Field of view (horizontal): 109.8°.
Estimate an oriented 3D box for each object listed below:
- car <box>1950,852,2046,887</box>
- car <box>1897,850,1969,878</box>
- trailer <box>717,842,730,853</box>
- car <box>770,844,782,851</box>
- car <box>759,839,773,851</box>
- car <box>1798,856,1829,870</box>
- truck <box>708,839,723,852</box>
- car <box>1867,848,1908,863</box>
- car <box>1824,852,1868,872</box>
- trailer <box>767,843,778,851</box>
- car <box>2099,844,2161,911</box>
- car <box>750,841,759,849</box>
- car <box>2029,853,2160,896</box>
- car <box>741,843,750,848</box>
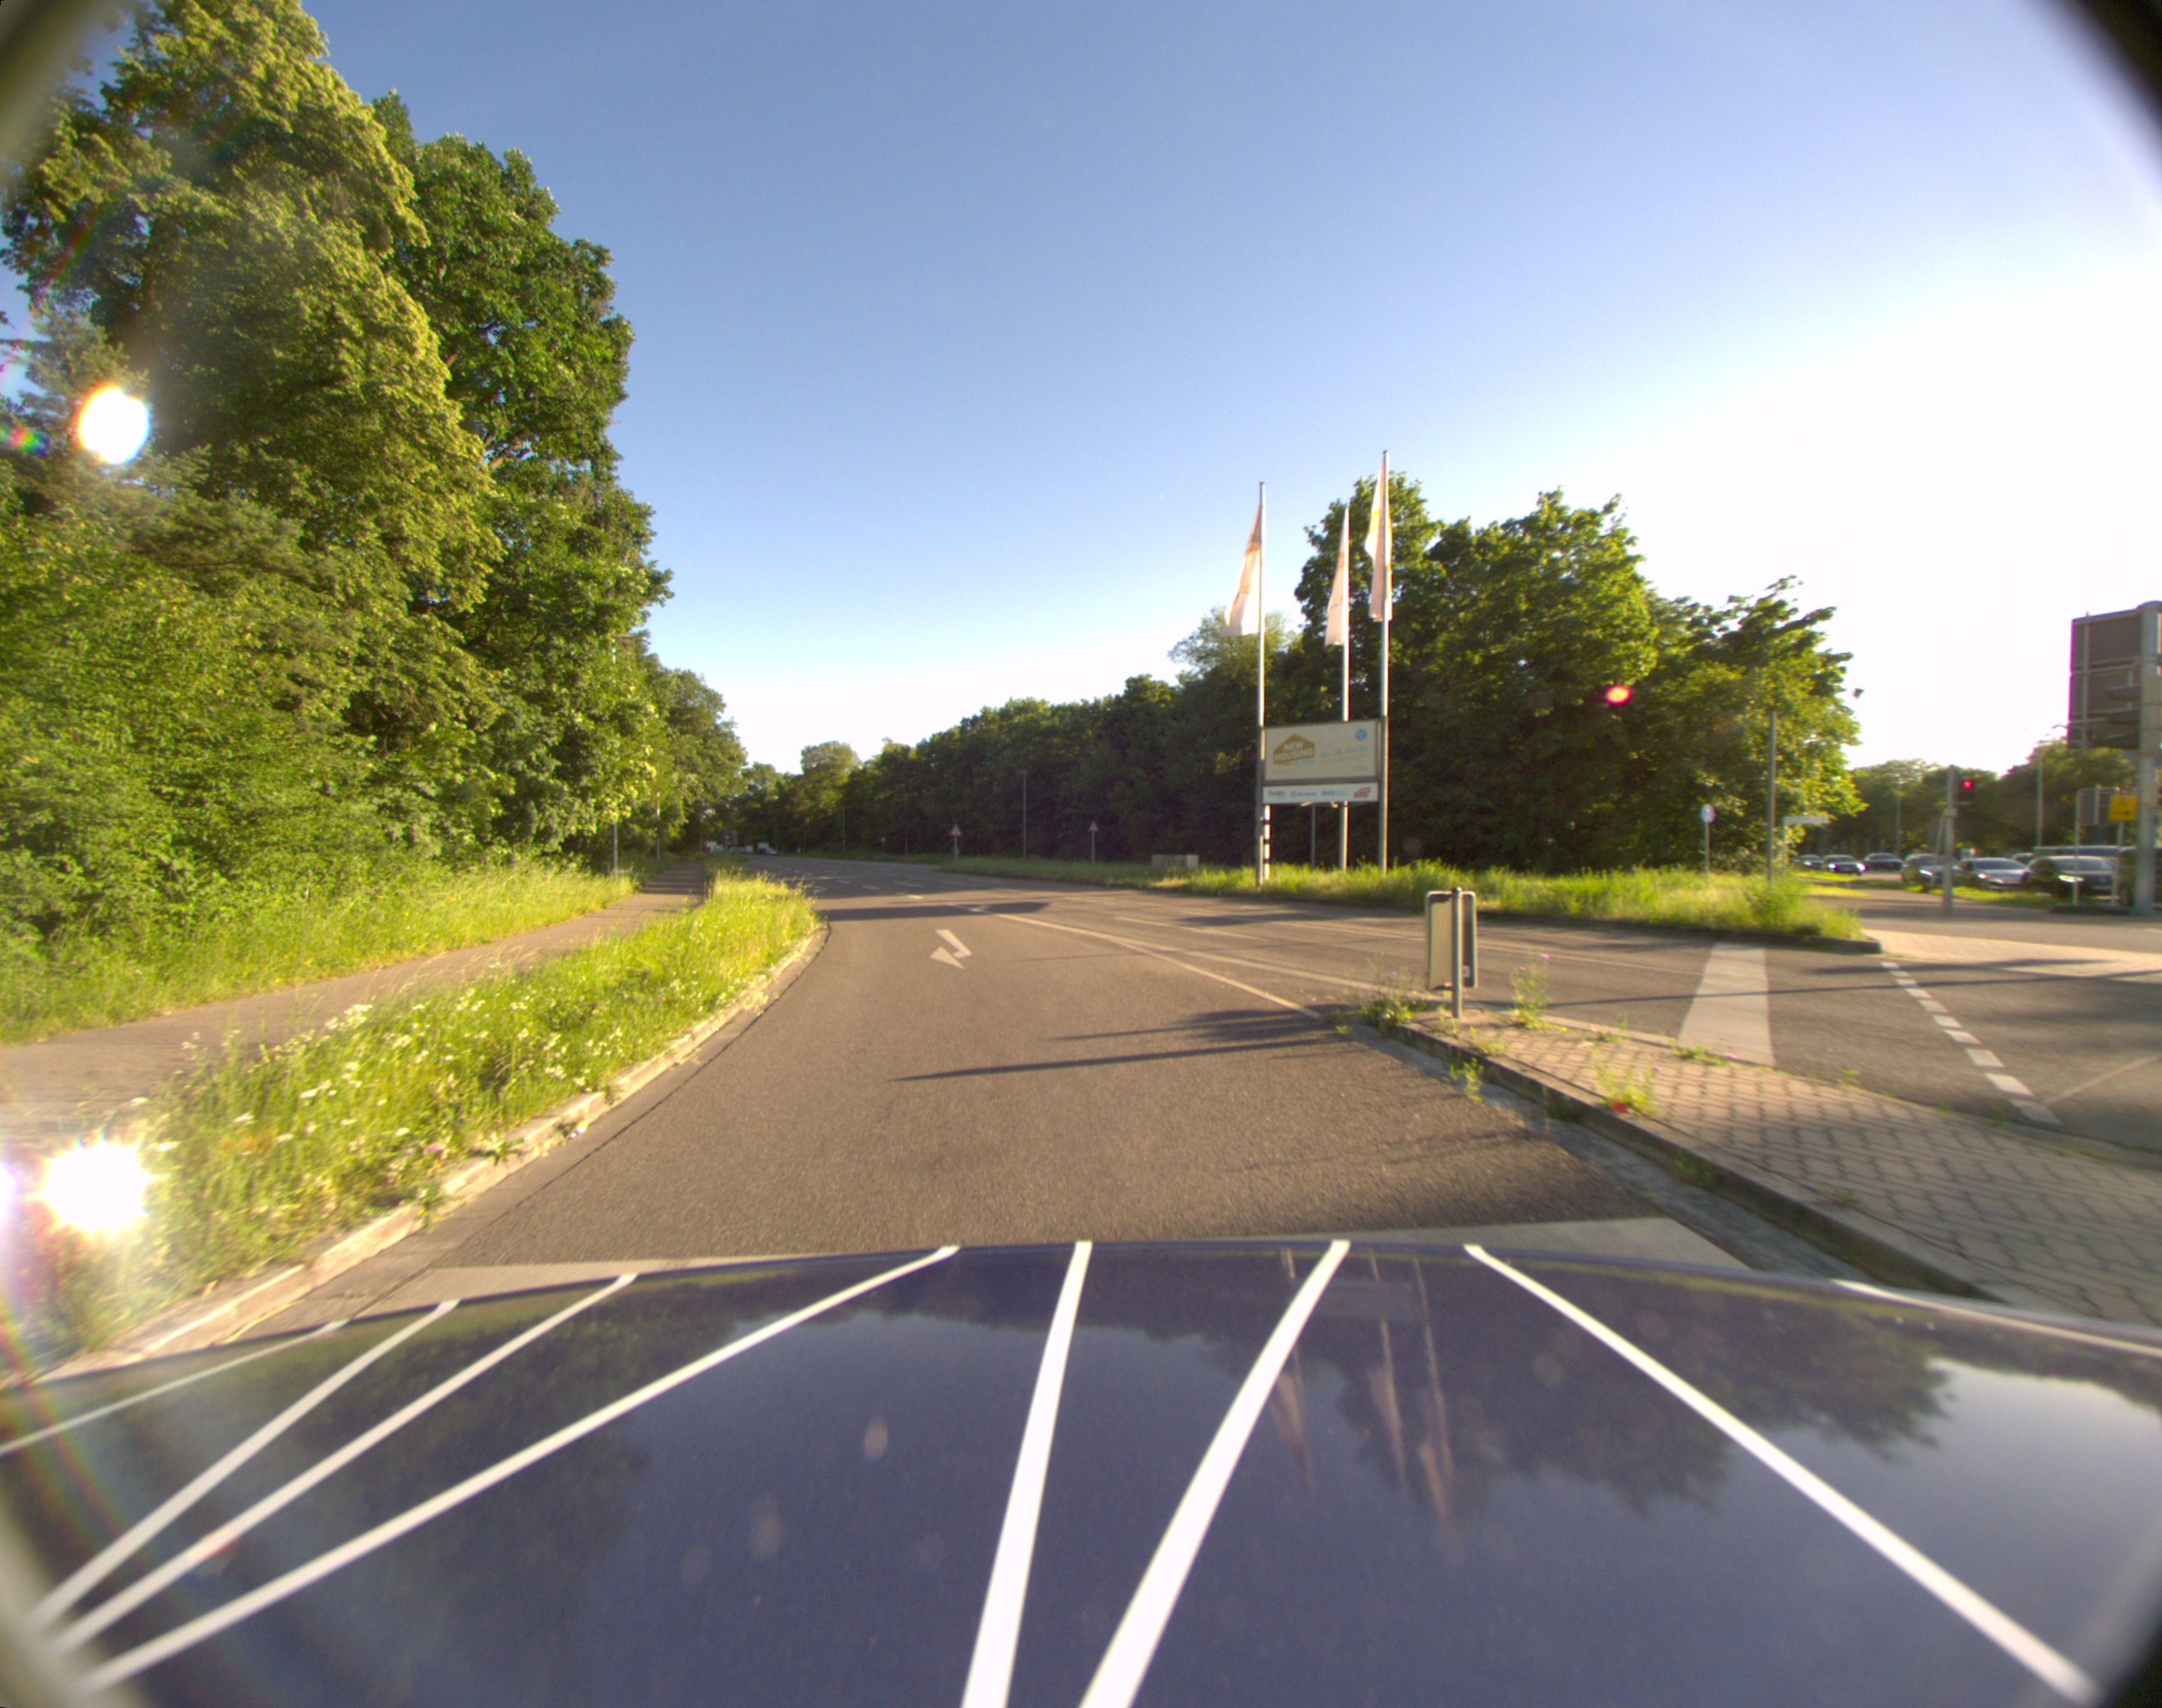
[{"bbox_3d":[39.782,0.615,33.074,1.849,1.381,3.807,1,1,37],"label":"car"},{"bbox_3d":[45.604,0.494,40.772,1.849,1.381,3.807,1,1,37],"label":"car"},{"bbox_3d":[-72.524,-1.256,154.051,1.873,2.166,4.118,-2,2,-30],"label":"trailer"},{"bbox_3d":[-65.498,-1.429,163.109,1.919,1.455,4.001,1,1,-30],"label":"car"},{"bbox_3d":[-73.867,-2.068,178.086,2.466,2.831,4.786,1,1,-30],"label":"car"},{"bbox_3d":[76.913,0.906,79.827,1.849,1.381,3.807,1,1,37],"label":"car"},{"bbox_3d":[-81.466,-1.896,169.311,2.395,2.856,5.584,-3,3,-30],"label":"truck"},{"bbox_3d":[77.861,0.122,73.379,1.768,1.444,4.008,1,1,32],"label":"car"},{"bbox_3d":[58.499,0.574,58.131,1.849,1.381,3.807,1,1,37],"label":"car"},{"bbox_3d":[-67.952,-1.524,167.460,1.810,1.719,3.638,1,1,-30],"label":"trailer"},{"bbox_3d":[31.006,0.641,21.111,1.923,1.819,4.944,1,1,37],"label":"car"},{"bbox_3d":[-88.786,-2.322,206.351,1.695,2.089,4.620,1,1,-30],"label":"car"},{"bbox_3d":[36.440,0.697,27.450,1.849,1.381,3.807,1,1,37],"label":"car"},{"bbox_3d":[-95.734,-2.400,216.802,1.810,1.496,3.902,1,1,-30],"label":"car"}]
